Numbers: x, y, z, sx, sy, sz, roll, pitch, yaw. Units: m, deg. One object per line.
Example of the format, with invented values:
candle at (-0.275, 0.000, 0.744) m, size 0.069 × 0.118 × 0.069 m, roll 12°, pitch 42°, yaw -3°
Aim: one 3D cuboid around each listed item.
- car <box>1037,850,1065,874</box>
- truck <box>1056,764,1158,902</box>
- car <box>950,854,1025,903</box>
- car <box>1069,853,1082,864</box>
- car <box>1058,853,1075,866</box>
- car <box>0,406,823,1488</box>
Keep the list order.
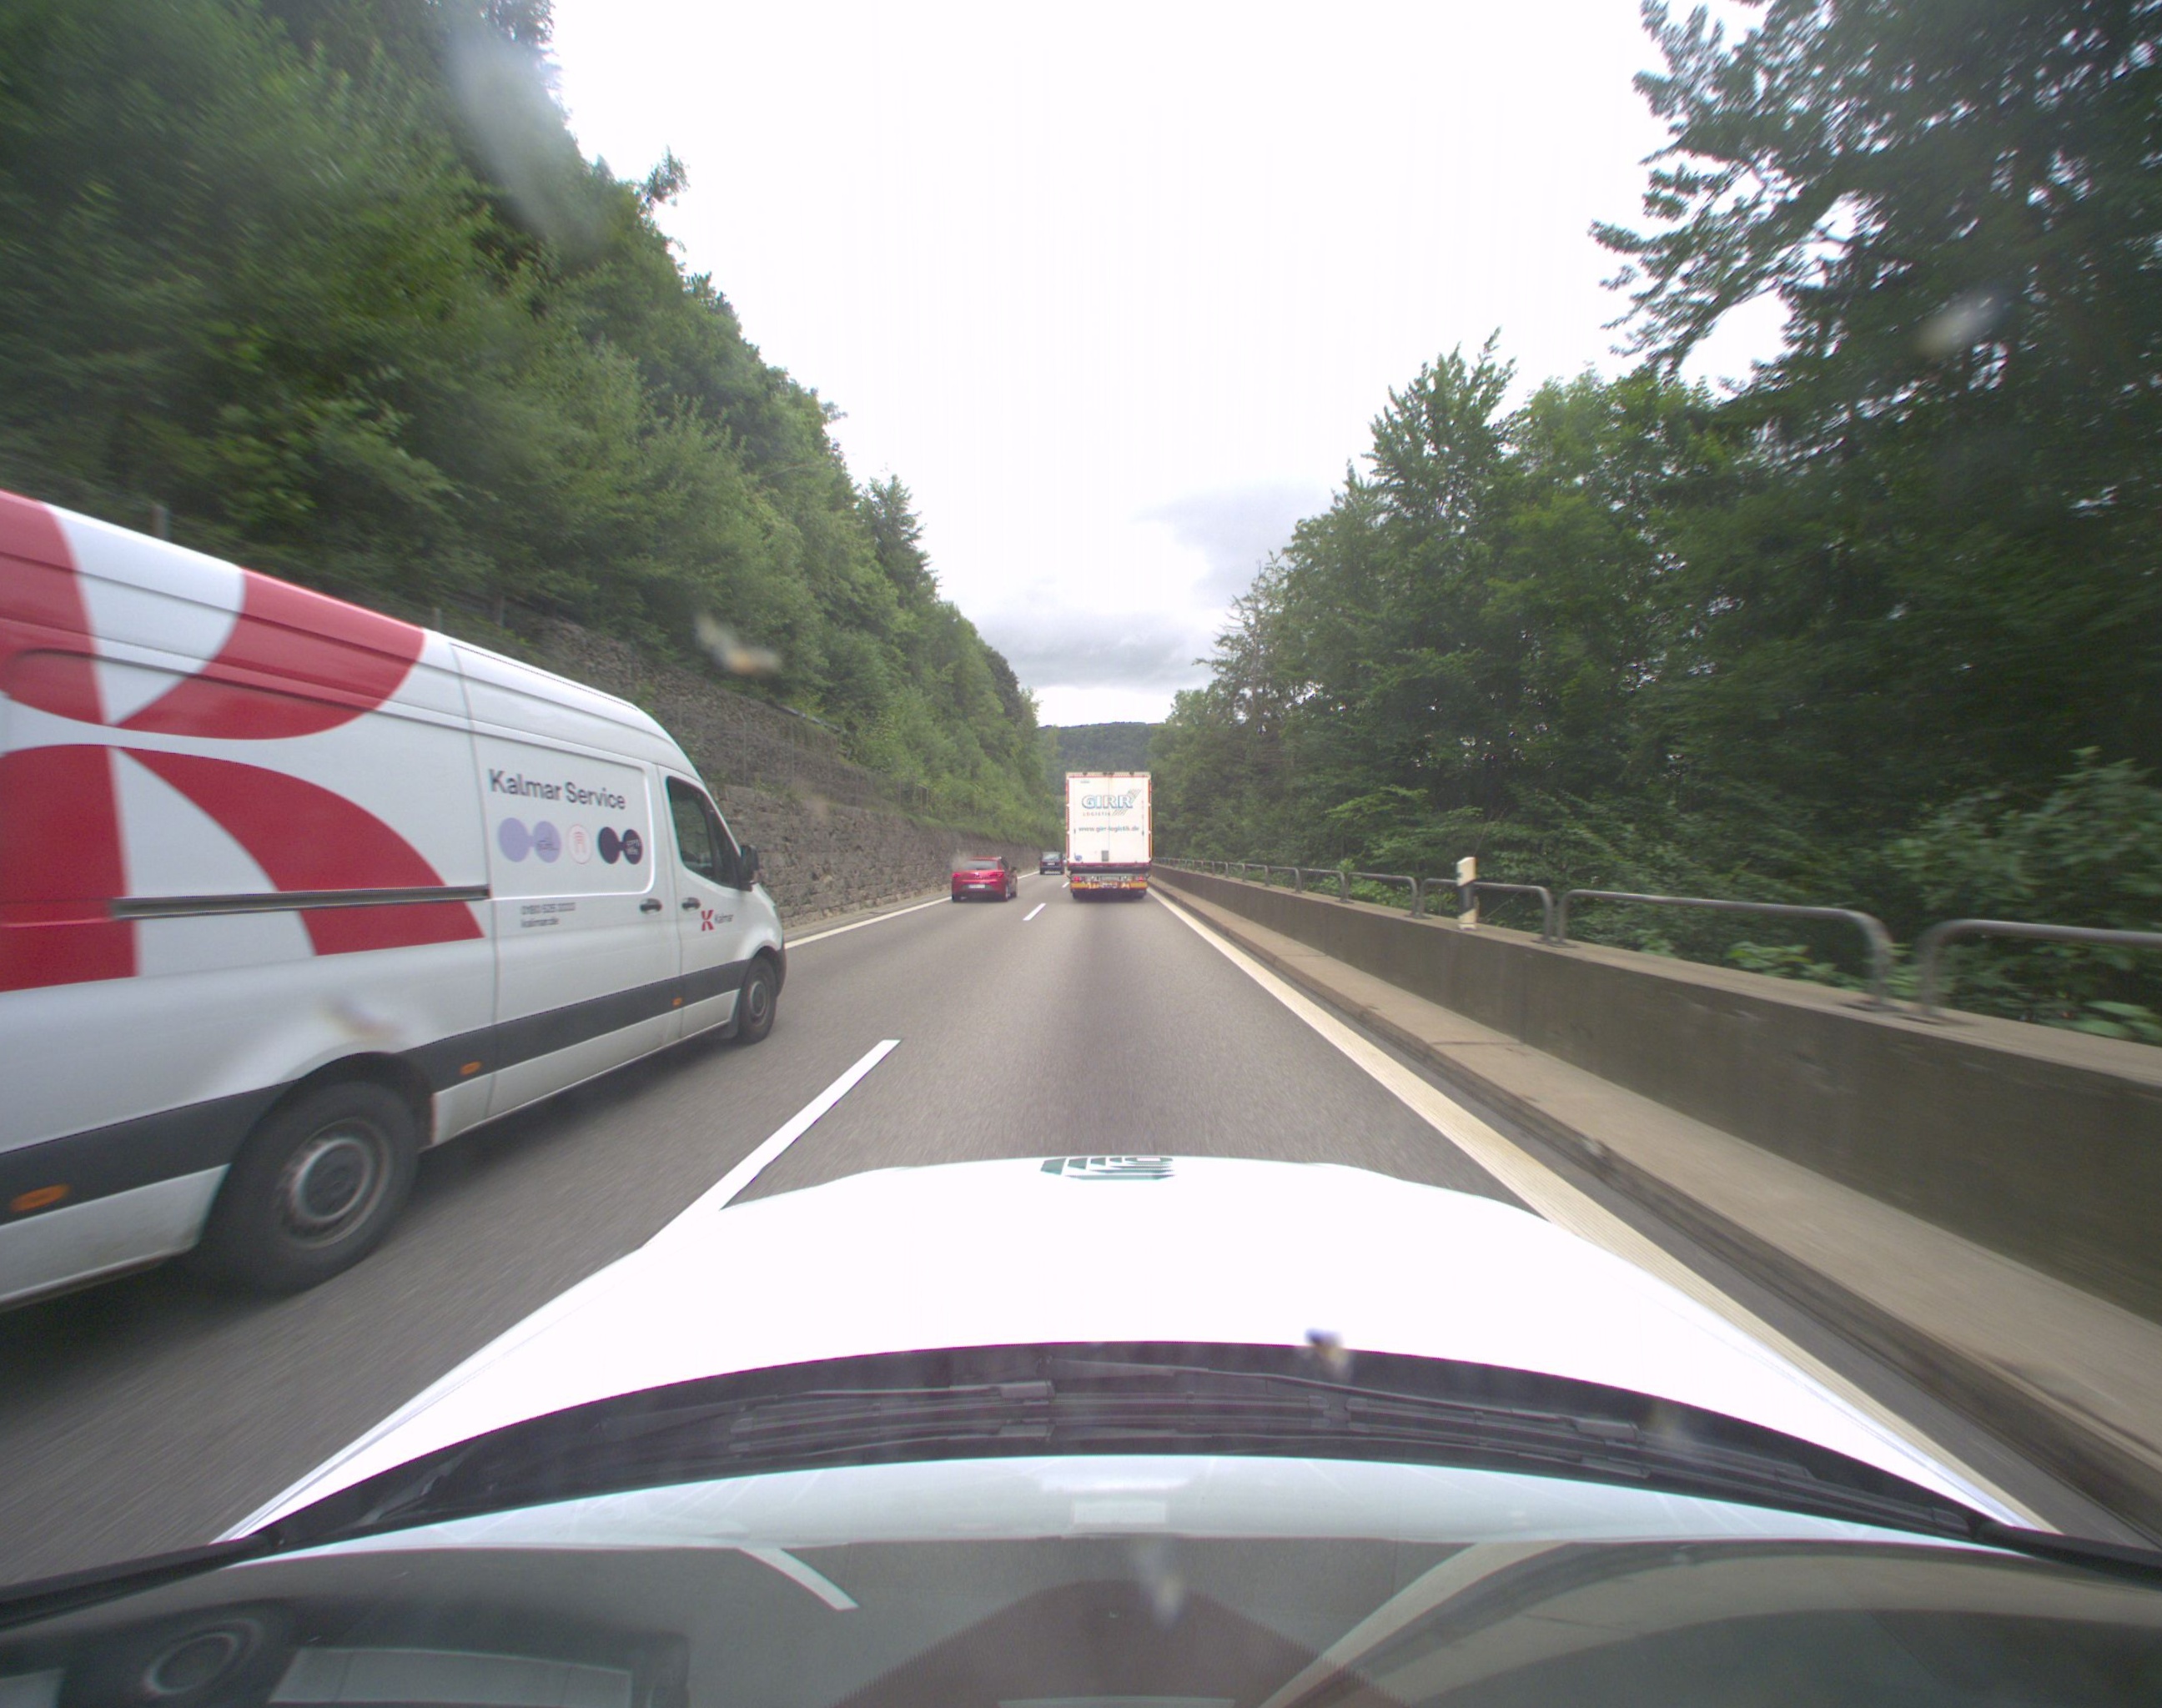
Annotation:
car at (-2.126, 0.562, 58.911) m, size 1.662 × 1.639 × 4.070 m, roll -1°, pitch -1°, yaw 2°
truck at (0.942, -0.604, 28.452) m, size 2.897 × 3.960 × 9.284 m, roll -1°, pitch 0°, yaw 2°
car at (-3.001, 0.758, 26.946) m, size 1.759 × 1.460 × 4.414 m, roll -1°, pitch -1°, yaw 2°
car at (-0.804, 0.669, 123.602) m, size 1.910 × 1.595 × 4.180 m, roll -1°, pitch -1°, yaw 1°
car at (-1.669, 0.659, 94.045) m, size 1.723 × 1.486 × 4.001 m, roll -1°, pitch -1°, yaw 1°
car at (-3.563, 0.255, 4.745) m, size 2.019 × 2.585 × 6.274 m, roll -1°, pitch -1°, yaw 1°
